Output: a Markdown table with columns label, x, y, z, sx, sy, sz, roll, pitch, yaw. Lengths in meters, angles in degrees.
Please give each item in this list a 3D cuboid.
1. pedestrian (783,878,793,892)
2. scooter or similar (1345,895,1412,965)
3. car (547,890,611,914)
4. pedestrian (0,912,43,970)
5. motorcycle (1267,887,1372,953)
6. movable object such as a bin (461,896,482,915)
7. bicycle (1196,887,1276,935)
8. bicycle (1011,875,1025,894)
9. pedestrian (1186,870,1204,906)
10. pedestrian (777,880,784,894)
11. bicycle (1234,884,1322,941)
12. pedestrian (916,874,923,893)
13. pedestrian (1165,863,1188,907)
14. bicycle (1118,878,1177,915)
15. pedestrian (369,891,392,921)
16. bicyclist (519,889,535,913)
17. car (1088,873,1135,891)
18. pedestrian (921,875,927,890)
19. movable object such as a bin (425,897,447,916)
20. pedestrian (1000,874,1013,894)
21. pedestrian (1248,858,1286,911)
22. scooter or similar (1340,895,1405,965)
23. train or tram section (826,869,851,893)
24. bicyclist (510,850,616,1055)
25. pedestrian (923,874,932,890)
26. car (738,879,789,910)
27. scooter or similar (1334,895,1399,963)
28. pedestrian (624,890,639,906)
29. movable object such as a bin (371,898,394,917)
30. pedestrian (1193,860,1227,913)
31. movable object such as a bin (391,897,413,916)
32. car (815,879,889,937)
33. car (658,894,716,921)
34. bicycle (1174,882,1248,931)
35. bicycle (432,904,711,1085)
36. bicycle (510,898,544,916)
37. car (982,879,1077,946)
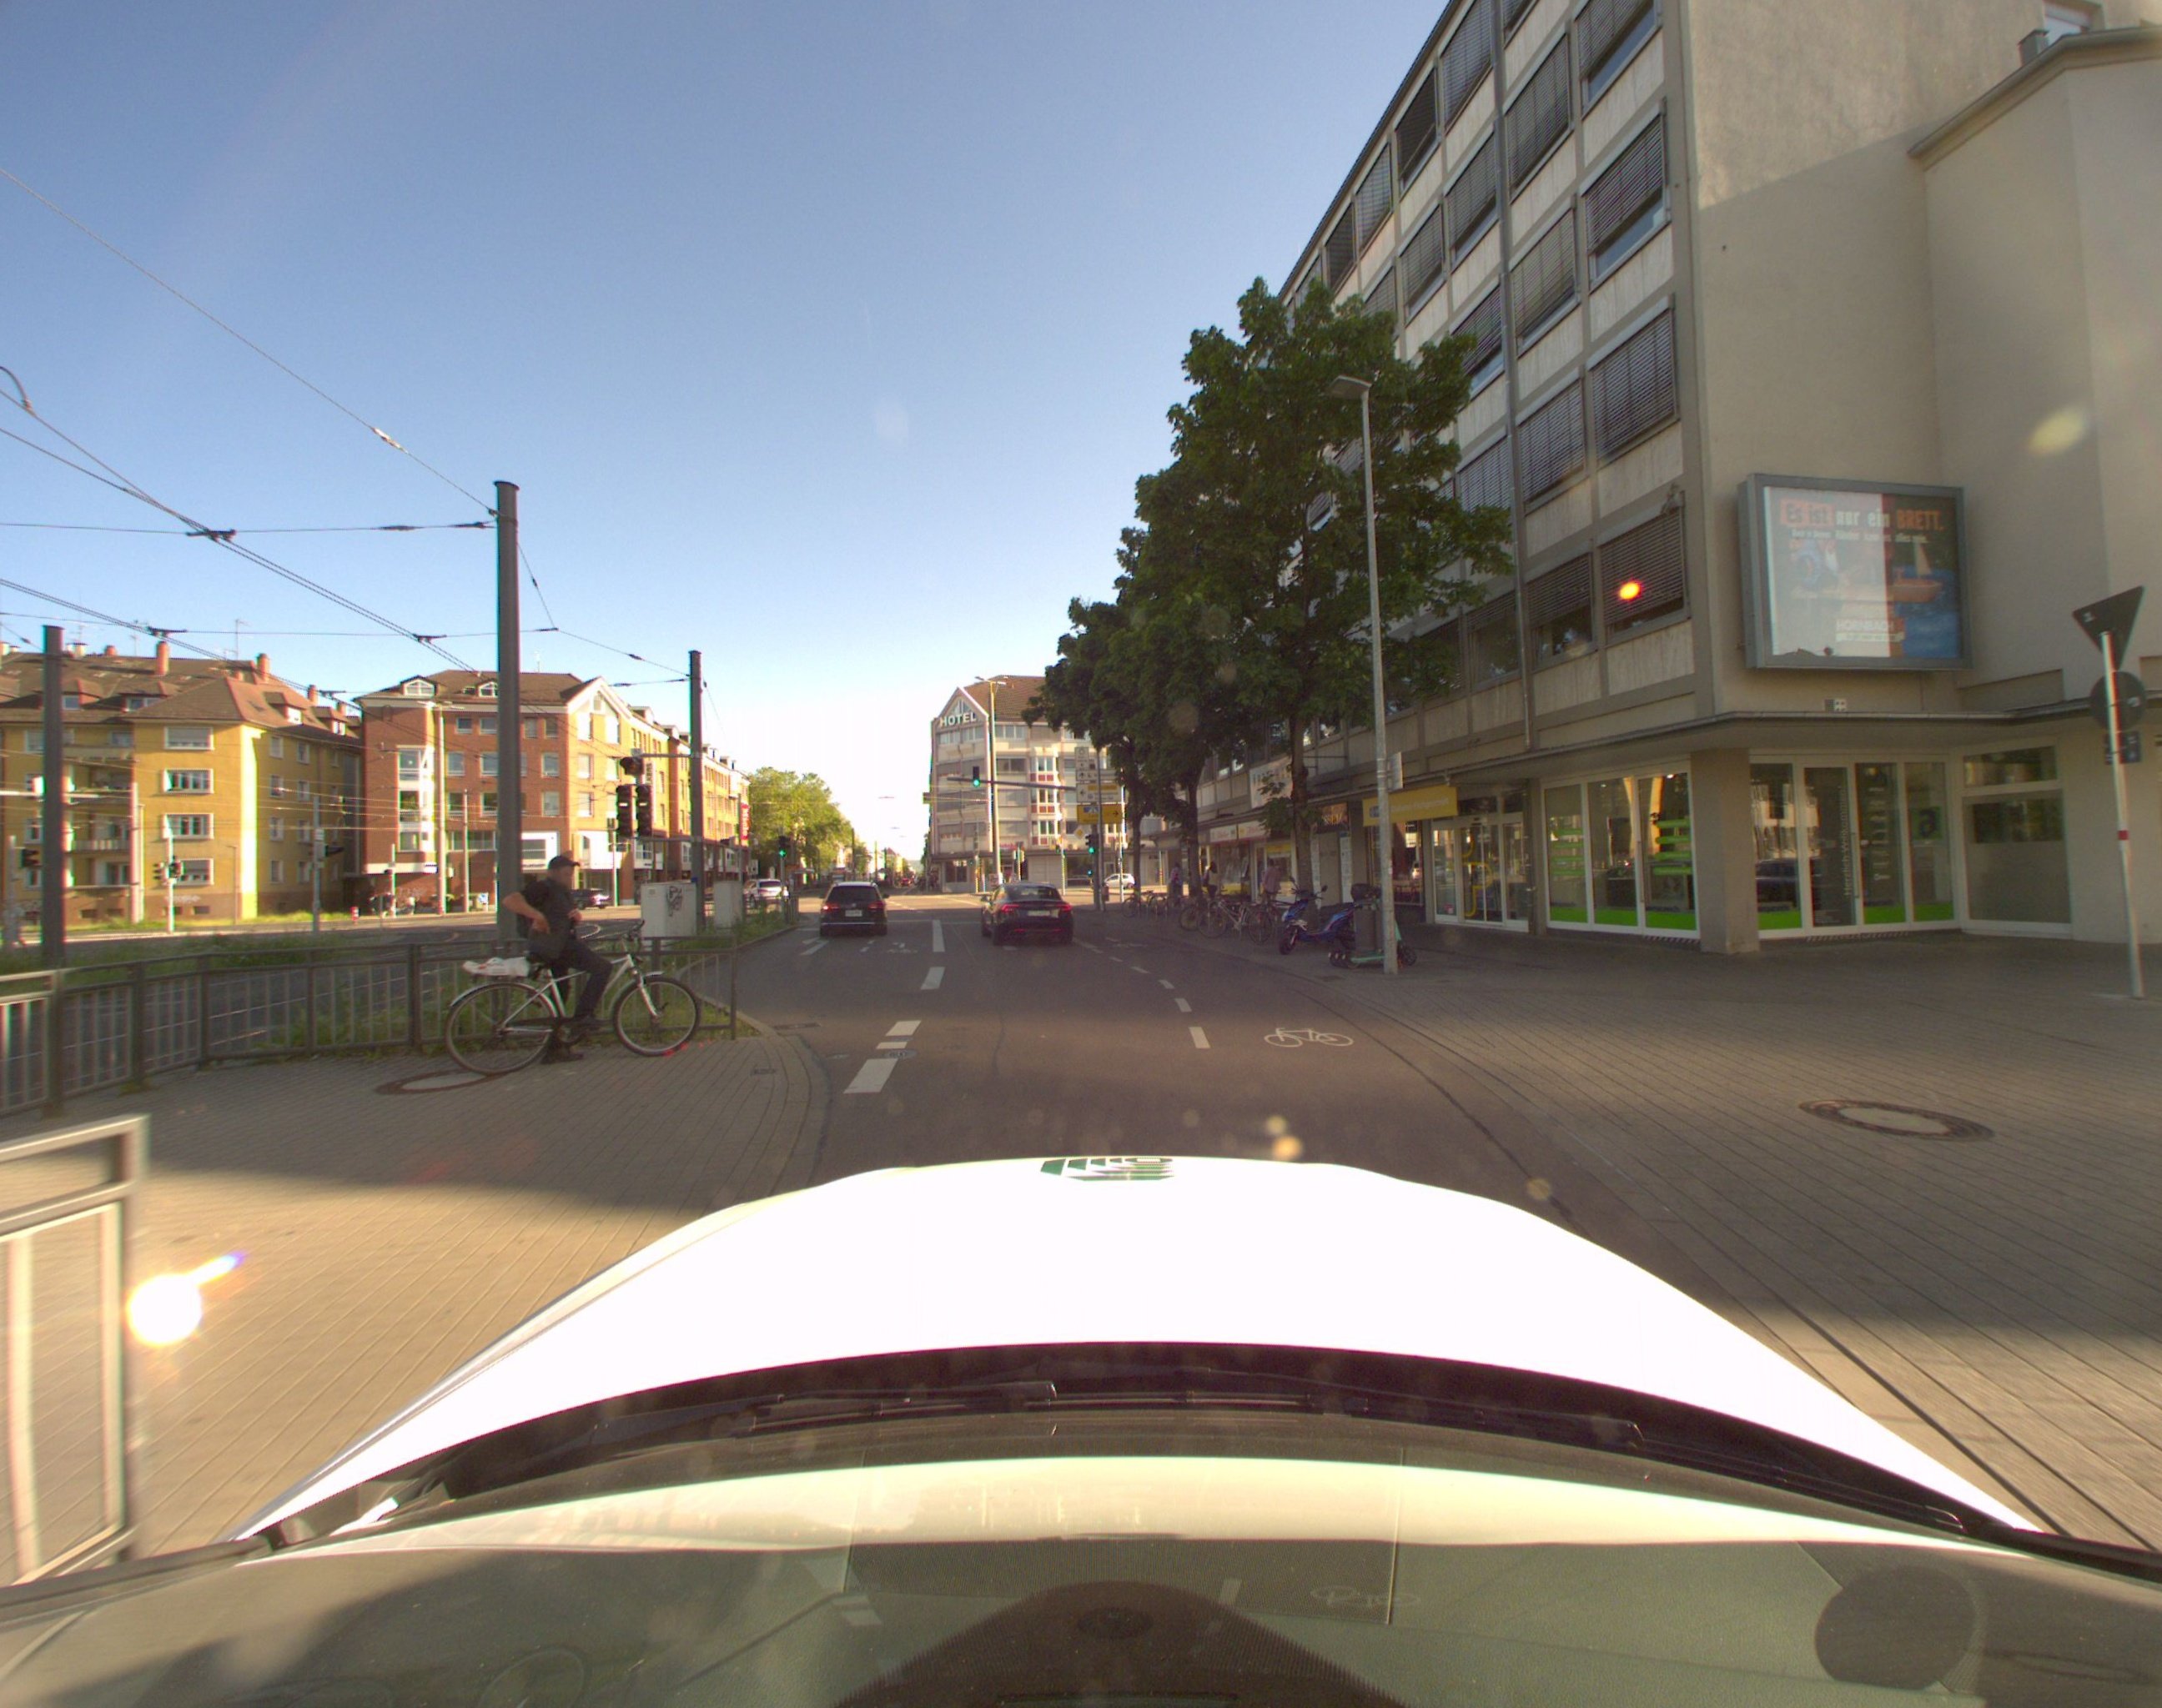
| label | x | y | z | sx | sy | sz | roll | pitch | yaw |
| --- | --- | --- | --- | --- | --- | --- | --- | --- | --- |
| pedestrian | -35.540 | 3.732 | 98.751 | 1.108 | 1.625 | 0.842 | -1 | -2 | -20 |
| scooter or similar | 4.621 | 1.175 | 12.653 | 0.962 | 1.043 | 0.159 | -2 | -2 | -7 |
| car | -34.454 | 3.271 | 55.873 | 3.440 | 1.551 | 1.736 | -2 | -2 | 11 |
| pedestrian | -32.740 | 2.678 | 25.097 | 0.627 | 1.688 | 0.701 | -1 | 0 | -21 |
| motorcycle | 4.381 | 1.196 | 14.979 | 1.787 | 1.130 | 0.502 | -1 | -2 | -10 |
| movable object such as a bin | -48.614 | 4.070 | 64.941 | 0.999 | 1.437 | 1.089 | -1 | -2 | -18 |
| bicycle | 3.624 | 1.318 | 19.061 | 1.763 | 1.057 | 0.457 | -1 | -2 | -4 |
| bicycle | -5.157 | 2.482 | 66.491 | 0.585 | 1.463 | 1.672 | -2 | -2 | -24 |
| pedestrian | 4.624 | 1.373 | 33.072 | 0.642 | 1.422 | 0.622 | -2 | -2 | 4 |
| pedestrian | -33.055 | 3.622 | 89.567 | 0.586 | 1.531 | 0.632 | 0 | -2 | -26 |
| bicycle | 4.155 | 1.222 | 17.148 | 1.856 | 1.056 | 0.396 | -3 | -2 | -20 |
| pedestrian | -15.433 | 2.840 | 77.829 | 0.626 | 1.782 | 0.914 | -1 | -2 | -10 |
| pedestrian | 3.868 | 1.260 | 33.207 | 0.839 | 1.721 | 0.881 | -2 | -2 | 3 |
| bicycle | 2.264 | 1.453 | 27.921 | 1.889 | 1.156 | 0.479 | -3 | -2 | -9 |
| pedestrian | -41.654 | 3.096 | 48.454 | 0.696 | 1.711 | 0.925 | -1 | -2 | -15 |
| bicyclist | -41.582 | 3.515 | 61.142 | 0.826 | 1.772 | 0.613 | -1 | -2 | -4 |
| car | 2.683 | 2.498 | 72.463 | 3.846 | 1.432 | 1.794 | -2 | -4 | -14 |
| pedestrian | -17.124 | 3.120 | 88.809 | 0.475 | 1.563 | 0.538 | 0 | -3 | -39 |
| movable object such as a bin | -50.896 | 4.136 | 64.265 | 0.999 | 1.437 | 1.089 | -1 | -2 | -18 |
| pedestrian | -6.045 | 2.413 | 66.211 | 0.783 | 1.576 | 0.861 | 0 | -1 | -24 |
| pedestrian | 5.784 | 0.943 | 25.332 | 0.843 | 1.602 | 0.877 | -1 | -2 | -9 |
| scooter or similar | 4.599 | 1.191 | 12.849 | 0.955 | 1.039 | 0.159 | -2 | -2 | -7 |
| train or tram section | -37.563 | 4.226 | 126.361 | 2.730 | 3.543 | 10.047 | -1 | -2 | -11 |
| bicyclist | -4.152 | 0.747 | 6.548 | 0.686 | 1.523 | 0.628 | 0 | -2 | -33 |
| pedestrian | -16.221 | 2.954 | 85.944 | 0.915 | 1.755 | 0.836 | -1 | -2 | -10 |
| car | -17.675 | 2.248 | 45.326 | 1.853 | 1.635 | 3.447 | 0 | -2 | -36 |
| scooter or similar | 4.573 | 1.200 | 13.048 | 0.962 | 1.027 | 0.159 | -2 | -2 | -7 |
| pedestrian | -44.428 | 4.348 | 80.460 | 0.878 | 1.568 | 0.866 | -2 | -2 | 13 |
| movable object such as a bin | -54.265 | 4.135 | 63.293 | 0.999 | 1.437 | 1.089 | -1 | -2 | -18 |
| pedestrian | 4.314 | 1.083 | 27.230 | 0.843 | 1.707 | 0.877 | -1 | -2 | -9 |
| movable object such as a bin | -53.132 | 4.083 | 63.734 | 0.999 | 1.437 | 1.089 | -1 | -2 | -18 |
| car | -6.550 | 1.440 | 23.005 | 1.770 | 1.444 | 4.499 | 0 | -1 | -19 |
| car | -25.174 | 3.395 | 52.027 | 3.734 | 1.618 | 1.588 | -3 | -2 | 33 |
| bicycle | 3.354 | 1.336 | 21.012 | 1.812 | 1.152 | 0.433 | -2 | -2 | -14 |
| bicycle | -4.046 | 1.050 | 6.597 | 1.833 | 1.212 | 0.635 | 0 | -2 | -33 |
| bicycle | -41.591 | 3.972 | 61.129 | 2.031 | 1.223 | 0.627 | -1 | -2 | -5 |
| car | -1.348 | 1.325 | 19.760 | 1.792 | 1.451 | 3.923 | 0 | -2 | -12 |
